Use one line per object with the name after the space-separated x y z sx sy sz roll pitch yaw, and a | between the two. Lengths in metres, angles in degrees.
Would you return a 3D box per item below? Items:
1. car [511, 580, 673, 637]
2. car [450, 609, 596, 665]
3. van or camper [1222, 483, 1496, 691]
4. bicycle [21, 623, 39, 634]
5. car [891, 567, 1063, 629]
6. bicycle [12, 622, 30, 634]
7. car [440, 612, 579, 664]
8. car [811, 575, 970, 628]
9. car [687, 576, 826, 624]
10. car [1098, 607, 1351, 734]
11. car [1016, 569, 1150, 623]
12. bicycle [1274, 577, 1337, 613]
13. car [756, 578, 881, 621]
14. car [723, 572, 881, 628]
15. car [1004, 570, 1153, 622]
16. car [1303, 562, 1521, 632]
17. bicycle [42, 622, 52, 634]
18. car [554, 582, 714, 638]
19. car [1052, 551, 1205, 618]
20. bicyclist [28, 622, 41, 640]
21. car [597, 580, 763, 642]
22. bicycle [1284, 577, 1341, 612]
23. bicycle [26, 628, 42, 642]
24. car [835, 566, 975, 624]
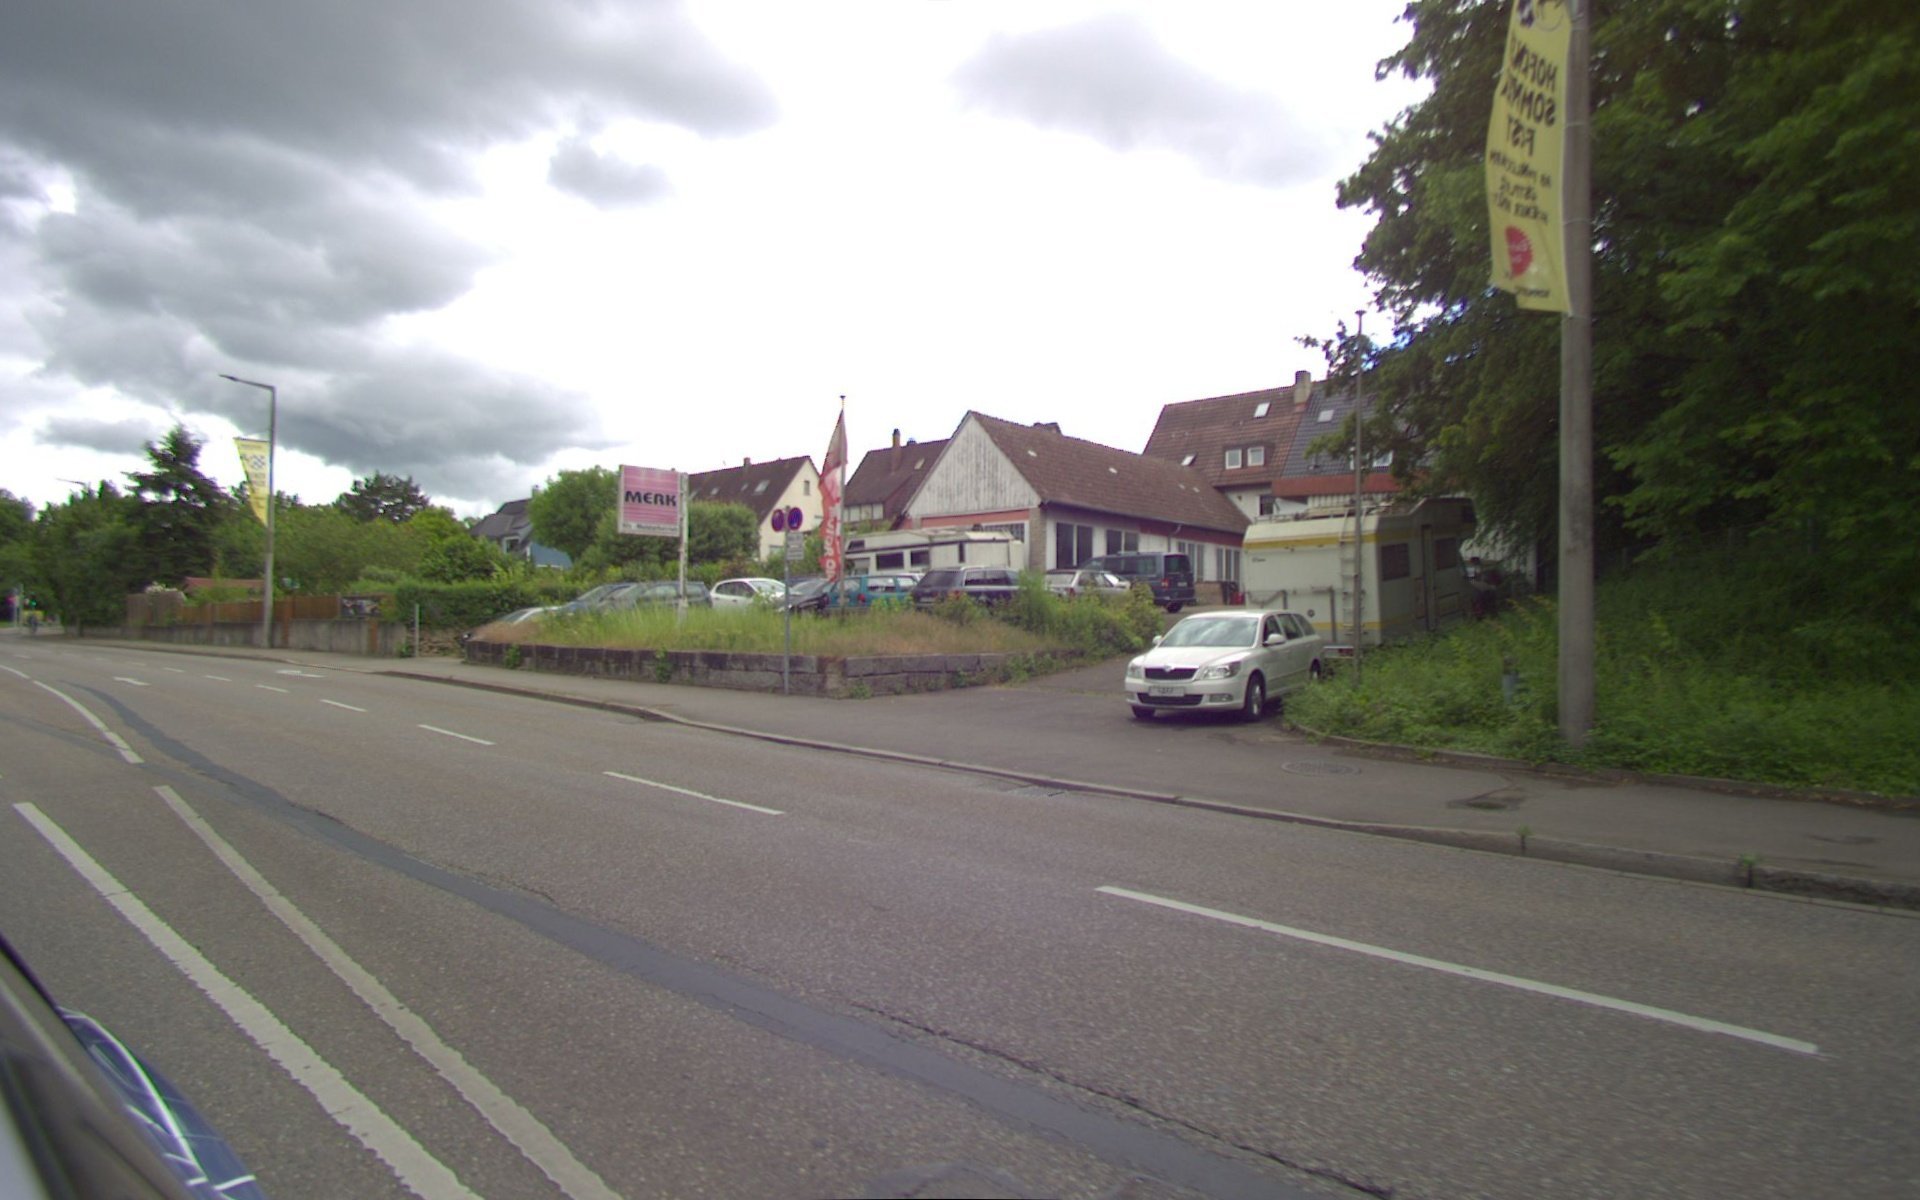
-10.487 0.199 28.970 3.941 1.508 1.860 -1 1 -45 | car
-14.245 1.149 33.130 2.000 1.629 3.945 0 1 42 | car
8.138 -0.458 20.028 2.795 3.395 7.070 -1 4 41 | van or camper
-104.661 3.197 113.861 0.537 1.262 1.940 -1 0 -12 | bicycle
0.478 -0.083 24.616 3.941 1.380 2.001 -1 1 -45 | car
-105.395 3.149 113.559 0.537 1.262 1.940 -1 0 -12 | bicycle
-15.568 1.265 35.119 2.000 1.616 3.945 0 1 42 | car
-1.733 0.007 26.191 1.886 1.278 3.889 0 1 42 | car
-6.292 0.034 31.087 4.396 1.352 1.829 -1 -1 39 | car
3.955 0.880 14.613 1.959 1.452 4.333 -1 0 38 | car
3.483 -0.129 28.302 3.701 1.411 1.848 -1 1 -45 | car
12.271 -0.182 35.996 1.986 1.189 0.625 -3 -2 44 | bicycle
-4.708 -0.022 33.243 4.284 1.328 1.651 0 1 41 | car
-4.190 -0.030 27.129 3.795 1.389 1.919 -1 1 -45 | car
3.741 -0.119 32.389 4.399 1.540 1.973 0 1 42 | car
11.945 -0.070 27.005 4.970 1.702 1.881 -1 0 43 | car
-102.957 3.173 114.154 0.536 1.262 1.941 -1 1 -32 | bicycle
-8.933 0.240 27.911 3.941 1.421 1.534 -1 1 -45 | car
5.521 -0.481 33.540 4.749 2.078 1.860 0 1 42 | car
-78.994 2.628 86.343 0.977 1.546 0.636 -1 0 36 | bicyclist
-7.333 0.241 26.769 3.941 1.503 1.648 -1 1 -45 | car
12.758 -0.198 36.662 1.822 1.189 0.625 -3 -2 44 | bicycle
-78.997 2.956 86.336 2.144 1.154 0.636 -1 0 37 | bicycle
-1.626 -0.174 30.625 3.941 1.641 1.935 -1 1 -45 | car
